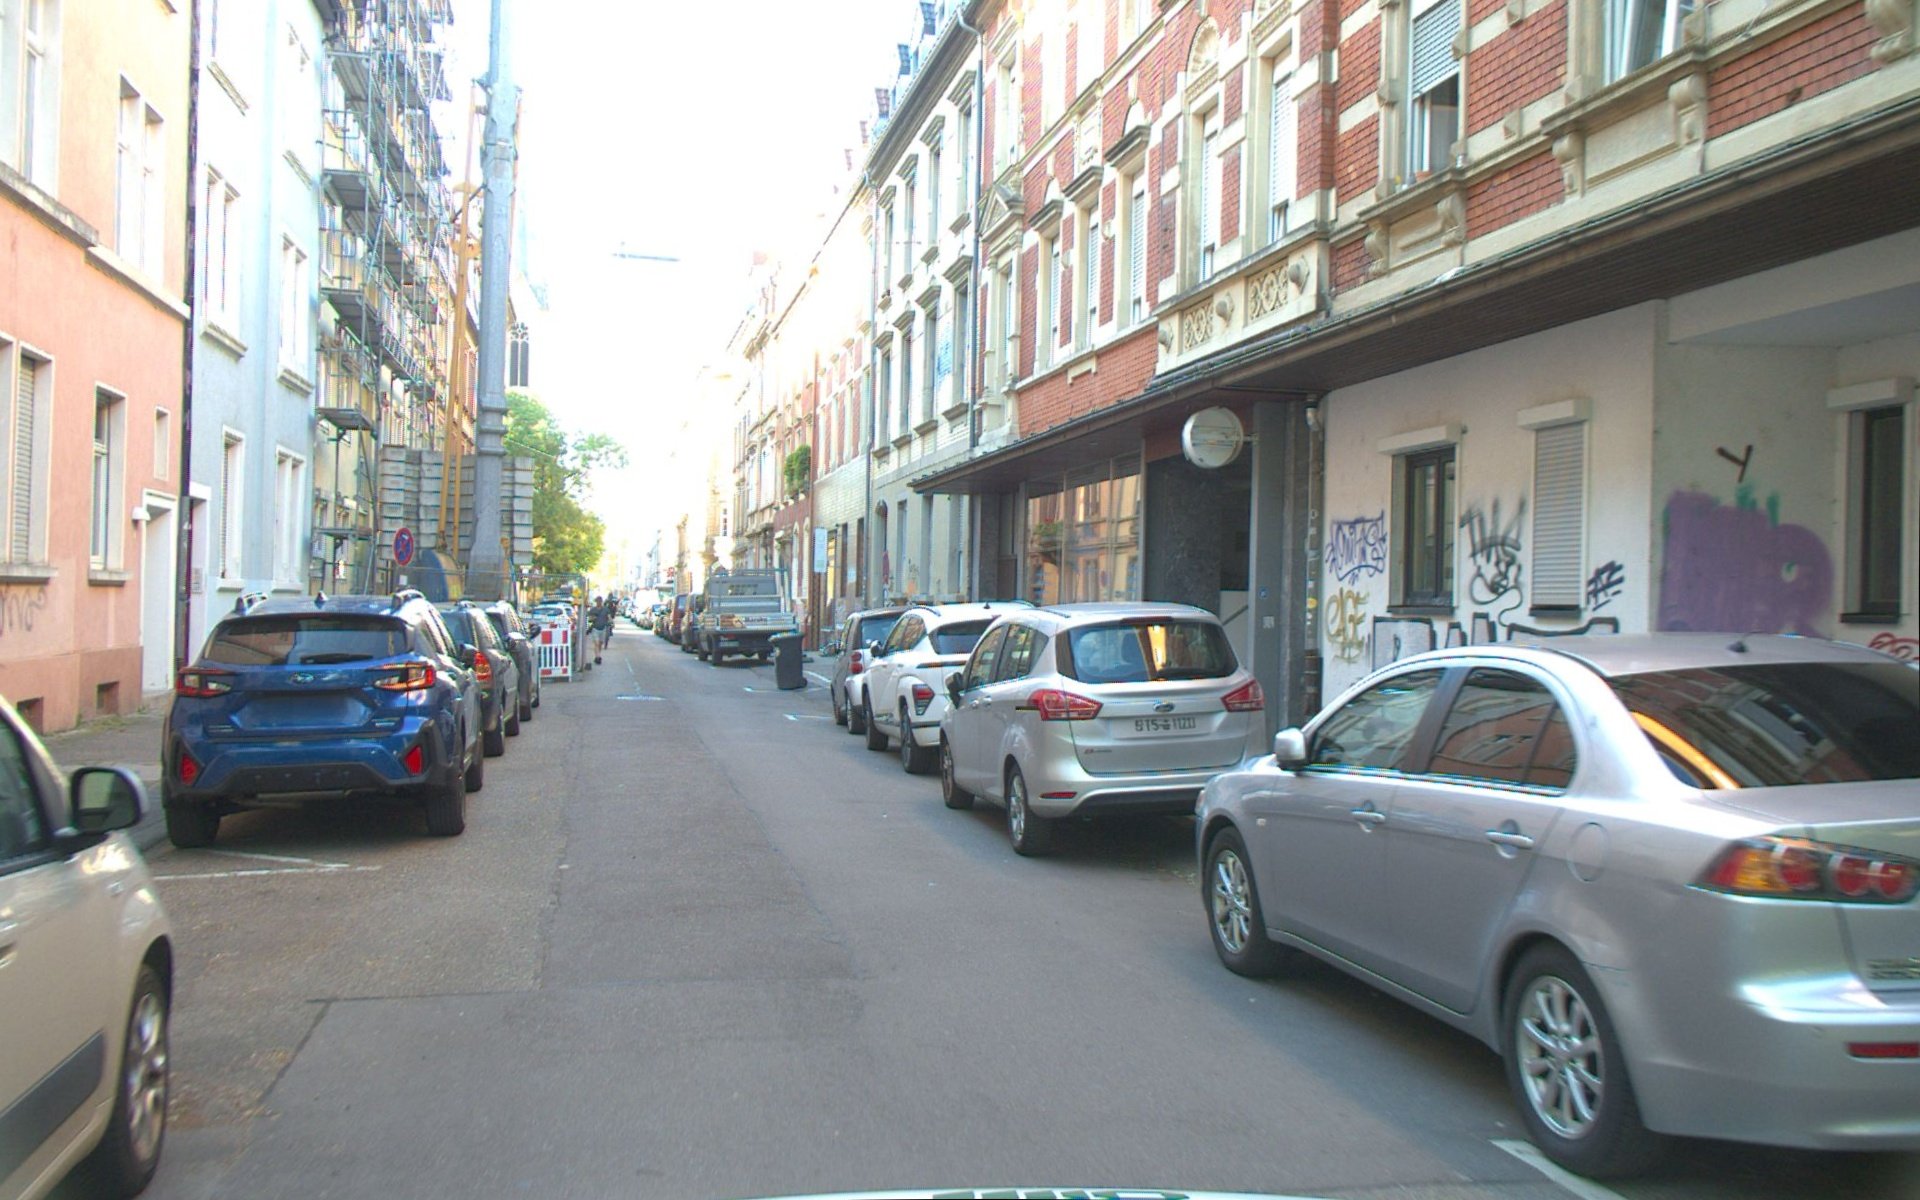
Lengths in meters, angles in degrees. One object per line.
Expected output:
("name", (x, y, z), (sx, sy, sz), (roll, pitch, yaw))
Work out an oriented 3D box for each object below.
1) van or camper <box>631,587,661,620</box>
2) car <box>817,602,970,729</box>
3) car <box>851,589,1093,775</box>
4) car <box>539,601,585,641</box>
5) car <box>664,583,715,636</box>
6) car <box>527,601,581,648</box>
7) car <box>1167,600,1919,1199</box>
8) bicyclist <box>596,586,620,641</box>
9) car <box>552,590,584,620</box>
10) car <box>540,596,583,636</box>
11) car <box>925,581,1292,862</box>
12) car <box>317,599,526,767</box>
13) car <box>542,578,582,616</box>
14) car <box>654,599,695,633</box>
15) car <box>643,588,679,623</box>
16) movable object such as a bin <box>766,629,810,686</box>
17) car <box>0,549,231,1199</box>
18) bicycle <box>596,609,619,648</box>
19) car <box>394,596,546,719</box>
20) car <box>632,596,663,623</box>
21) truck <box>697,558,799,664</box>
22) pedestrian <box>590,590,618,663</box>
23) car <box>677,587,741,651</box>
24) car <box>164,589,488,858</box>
("van or camper", (-24.958, 0.283, 131.310), (1.961, 2.552, 4.183), (0, 0, -16))
("car", (-0.989, 0.832, 22.708), (1.568, 1.587, 3.804), (1, 0, -11))
("car", (-0.013, 0.776, 17.524), (1.715, 1.705, 4.328), (1, -1, -11))
("car", (-15.287, 0.805, 63.401), (1.647, 1.471, 3.854), (1, -1, -15))
("car", (-10.889, 0.394, 66.486), (1.647, 2.067, 3.854), (1, -1, -15))
("car", (-13.462, 0.802, 54.803), (1.647, 1.471, 3.854), (1, -1, -15))
("car", (2.299, 0.823, 6.016), (1.691, 1.589, 4.384), (1, 0, -12))
("bicyclist", (-11.645, 0.450, 54.684), (0.717, 1.792, 0.833), (2, 0, -12))
("car", (-25.083, 0.309, 105.755), (1.959, 1.881, 3.986), (0, 0, -14))
("car", (-16.451, 0.652, 68.137), (1.647, 1.598, 3.854), (1, -1, -15))
("car", (0.891, 0.760, 12.018), (1.611, 1.685, 3.858), (1, -1, -11))
("car", (-5.559, 0.783, 17.523), (1.646, 1.538, 4.400), (1, -1, -12))
("car", (-17.669, -0.112, 73.267), (1.647, 1.598, 3.854), (1, -1, -15))
("car", (-13.755, 0.750, 79.617), (1.647, 1.598, 3.854), (1, -1, -15))
("car", (-18.724, 0.332, 103.471), (1.959, 2.049, 3.986), (2, 0, -14))
("movable object such as a bin", (-3.346, 1.109, 32.154), (0.781, 1.074, 0.658), (1, -1, -13))
("car", (-2.607, 0.692, 3.102), (1.647, 1.567, 3.854), (0, 0, -15))
("bicycle", (-11.636, 0.917, 54.639), (0.712, 1.207, 2.036), (2, 0, -12))
("car", (-6.595, 0.721, 22.634), (1.646, 1.503, 4.593), (1, -1, -12))
("car", (-22.067, 0.658, 116.727), (1.959, 1.881, 3.986), (0, 0, -14))
("truck", (-5.727, 0.271, 44.150), (2.152, 2.653, 5.216), (0, 0, -13))
("pedestrian", (-8.760, 0.643, 40.676), (0.646, 1.763, 0.718), (-1, 0, -13))
("car", (-8.277, 0.612, 54.304), (1.647, 1.997, 4.093), (1, -1, -14))
("car", (-4.381, 0.732, 12.022), (1.700, 1.567, 4.360), (0, 0, -14))
